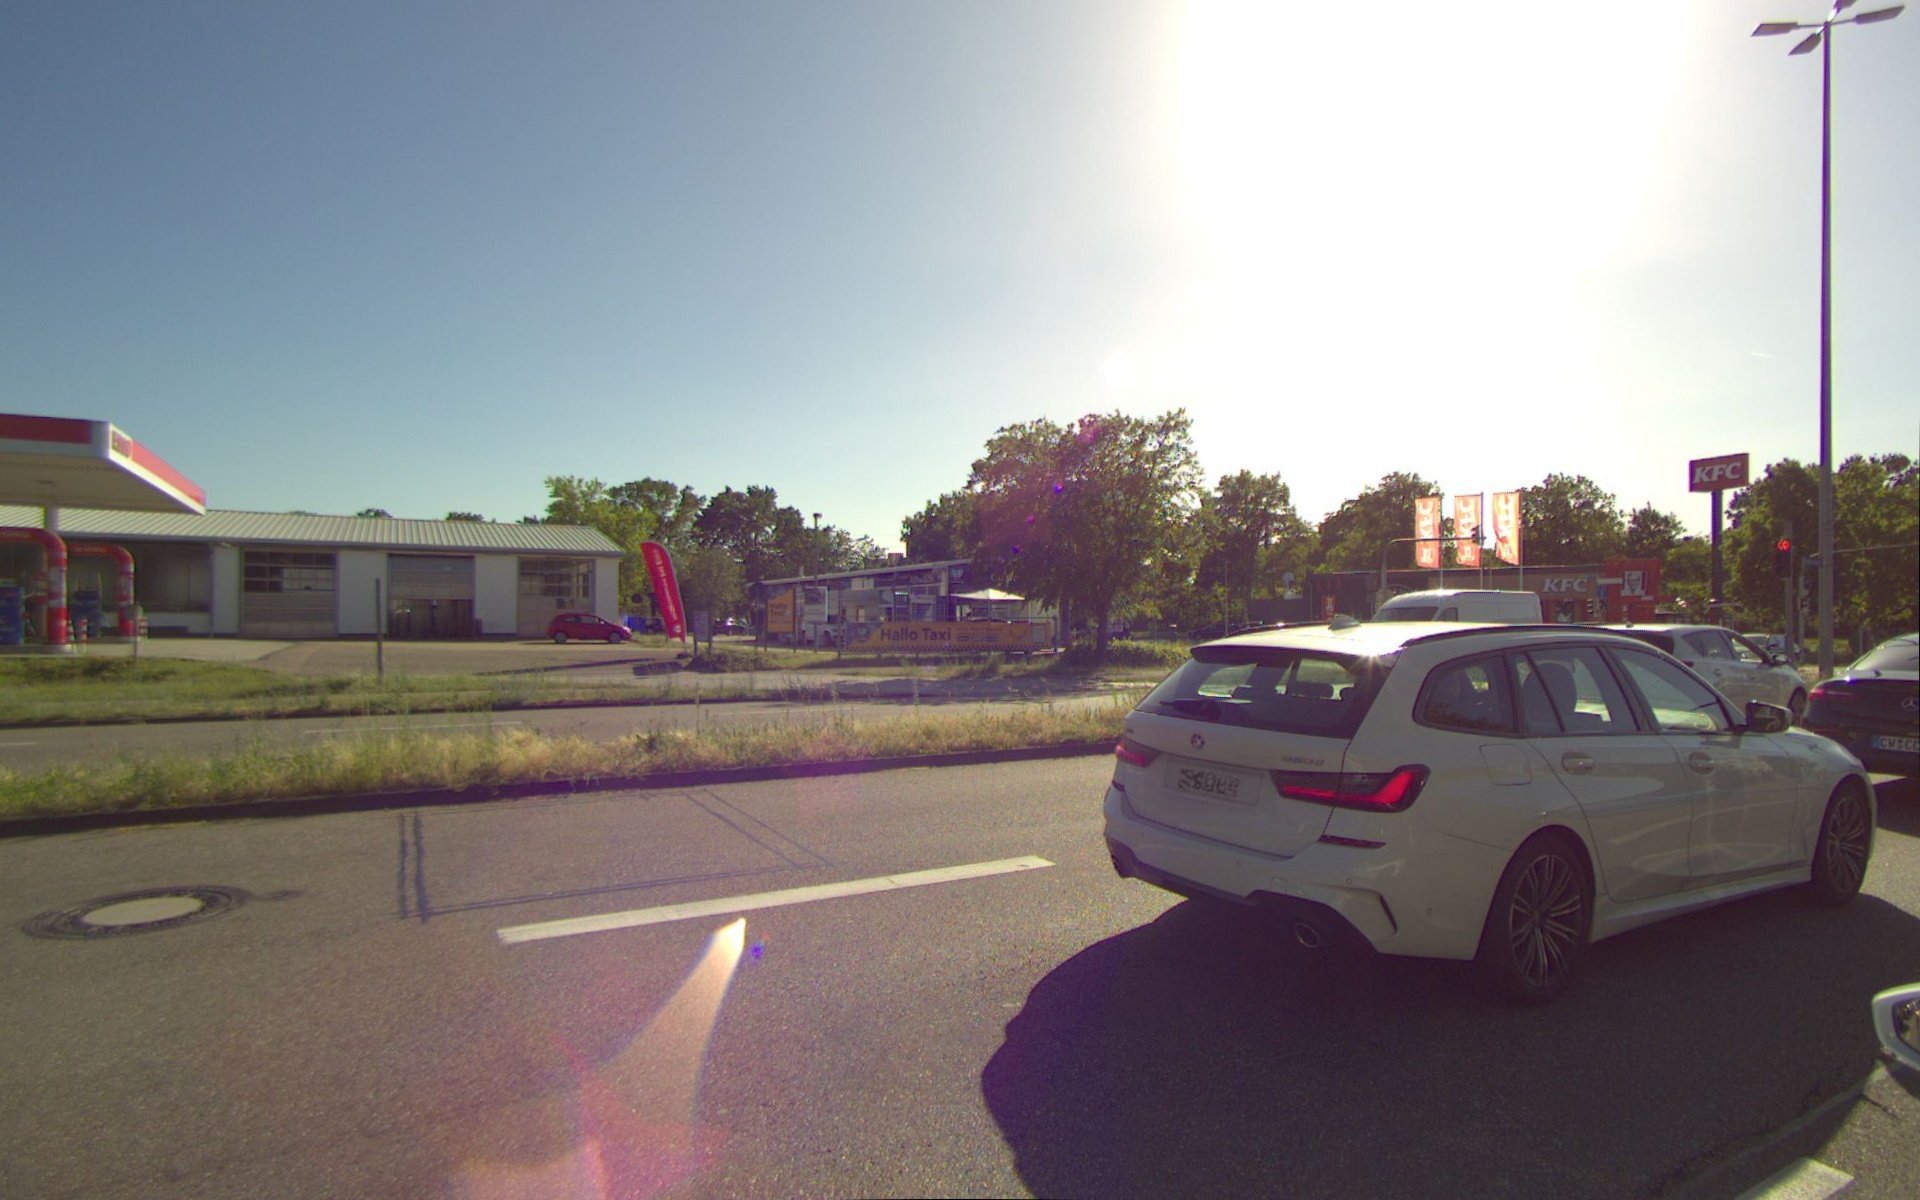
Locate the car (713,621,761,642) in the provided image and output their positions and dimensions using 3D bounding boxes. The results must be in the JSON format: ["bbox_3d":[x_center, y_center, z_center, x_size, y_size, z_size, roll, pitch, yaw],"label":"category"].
[{"bbox_3d":[-19.403,2.723,87.605,3.929,1.634,1.996,2,0,-11],"label":"car"}]

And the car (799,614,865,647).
[{"bbox_3d":[-6.801,1.612,53.163,1.978,1.584,3.964,2,0,-32],"label":"car"}]

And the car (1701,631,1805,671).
[{"bbox_3d":[32.152,2.070,40.691,4.425,1.509,1.751,2,-4,-30],"label":"car"}]

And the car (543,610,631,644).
[{"bbox_3d":[-18.351,1.334,49.404,3.946,1.537,1.772,2,0,-25],"label":"car"}]

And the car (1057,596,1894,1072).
[{"bbox_3d":[2.782,0.808,5.119,4.353,1.510,1.776,2,0,-31],"label":"car"}]

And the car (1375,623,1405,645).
[{"bbox_3d":[31.299,2.449,73.218,1.629,1.491,3.919,2,0,18],"label":"car"}]

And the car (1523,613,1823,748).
[{"bbox_3d":[9.551,0.998,13.381,4.150,1.510,1.750,2,0,-31],"label":"car"}]

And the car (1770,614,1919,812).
[{"bbox_3d":[9.276,0.945,8.967,4.425,1.510,1.787,2,0,-31],"label":"car"}]

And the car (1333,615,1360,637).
[{"bbox_3d":[28.287,1.897,73.653,1.629,1.491,3.919,2,0,18],"label":"car"}]

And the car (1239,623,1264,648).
[{"bbox_3d":[21.808,2.625,75.151,1.629,1.695,3.945,2,0,18],"label":"car"}]

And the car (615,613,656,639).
[{"bbox_3d":[-19.311,1.546,59.679,1.634,1.383,3.744,2,0,-29],"label":"car"}]

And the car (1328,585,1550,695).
[{"bbox_3d":[12.009,1.041,25.097,5.751,2.478,2.014,1,-4,-29],"label":"car"}]

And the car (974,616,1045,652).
[{"bbox_3d":[2.393,1.667,49.555,1.839,1.613,3.974,2,0,-26],"label":"car"}]
